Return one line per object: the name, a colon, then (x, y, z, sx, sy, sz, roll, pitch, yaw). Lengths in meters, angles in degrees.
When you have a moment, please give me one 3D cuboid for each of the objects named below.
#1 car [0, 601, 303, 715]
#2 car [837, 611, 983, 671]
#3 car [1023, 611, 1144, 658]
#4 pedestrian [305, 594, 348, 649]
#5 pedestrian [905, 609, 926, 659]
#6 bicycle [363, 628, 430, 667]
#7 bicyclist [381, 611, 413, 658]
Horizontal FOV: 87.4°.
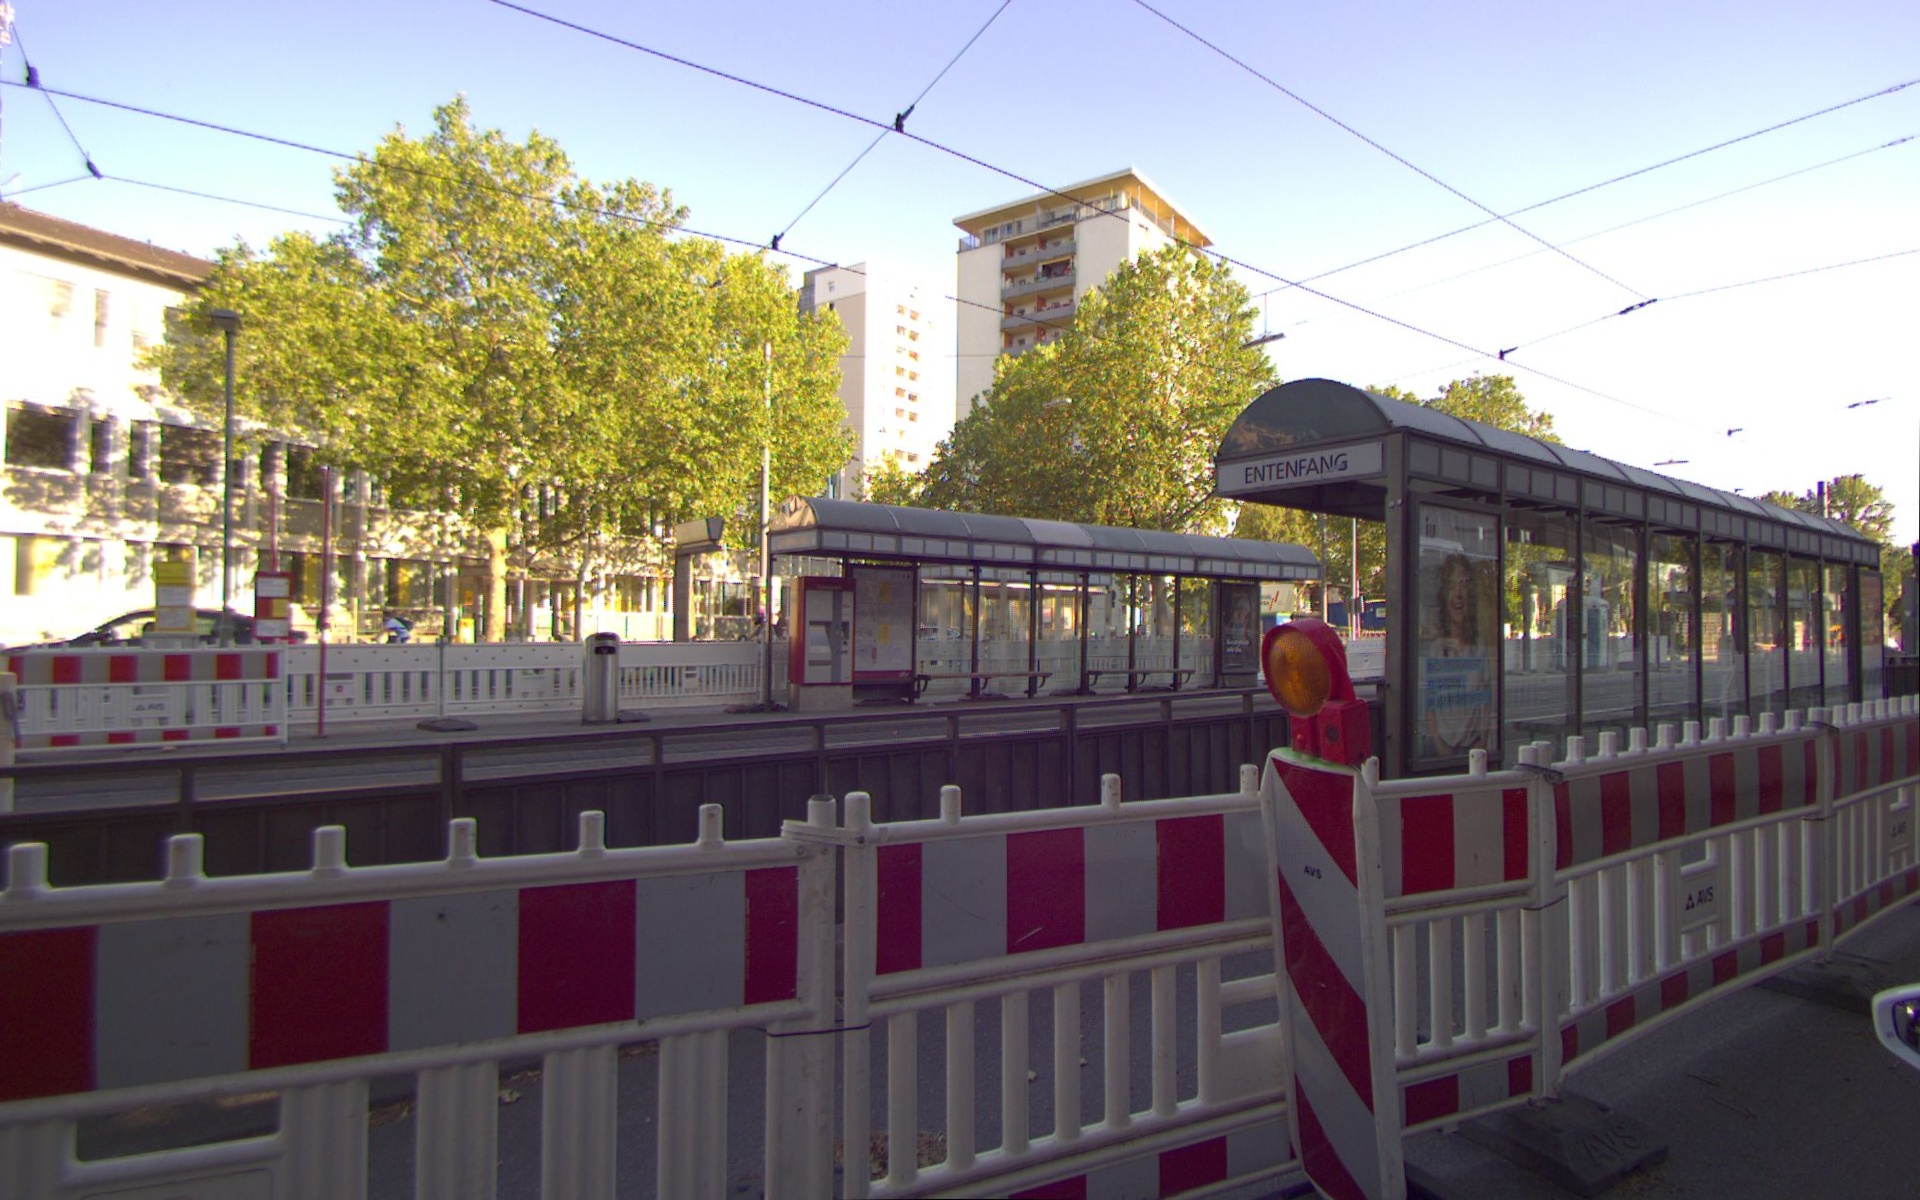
car: (-13.701, 0.907, 16.699, 4.544, 1.689, 1.881, 2, 0, -37)
car: (-1.330, 1.107, 27.400, 3.740, 1.532, 1.646, 2, -2, -38)
car: (4.757, 1.310, 38.427, 4.544, 1.689, 1.881, 2, 0, -37)
pedestrian: (-20.500, 0.682, 32.511, 0.793, 1.751, 0.884, 0, -1, 28)
pedestrian: (-1.669, 1.278, 37.491, 0.605, 1.833, 0.564, 1, -1, -30)
bicycle: (-14.583, 1.216, 26.002, 1.449, 0.980, 0.407, 2, -2, -39)
bicyclist: (-14.583, 0.894, 26.003, 0.657, 1.189, 0.407, 1, -1, -39)
